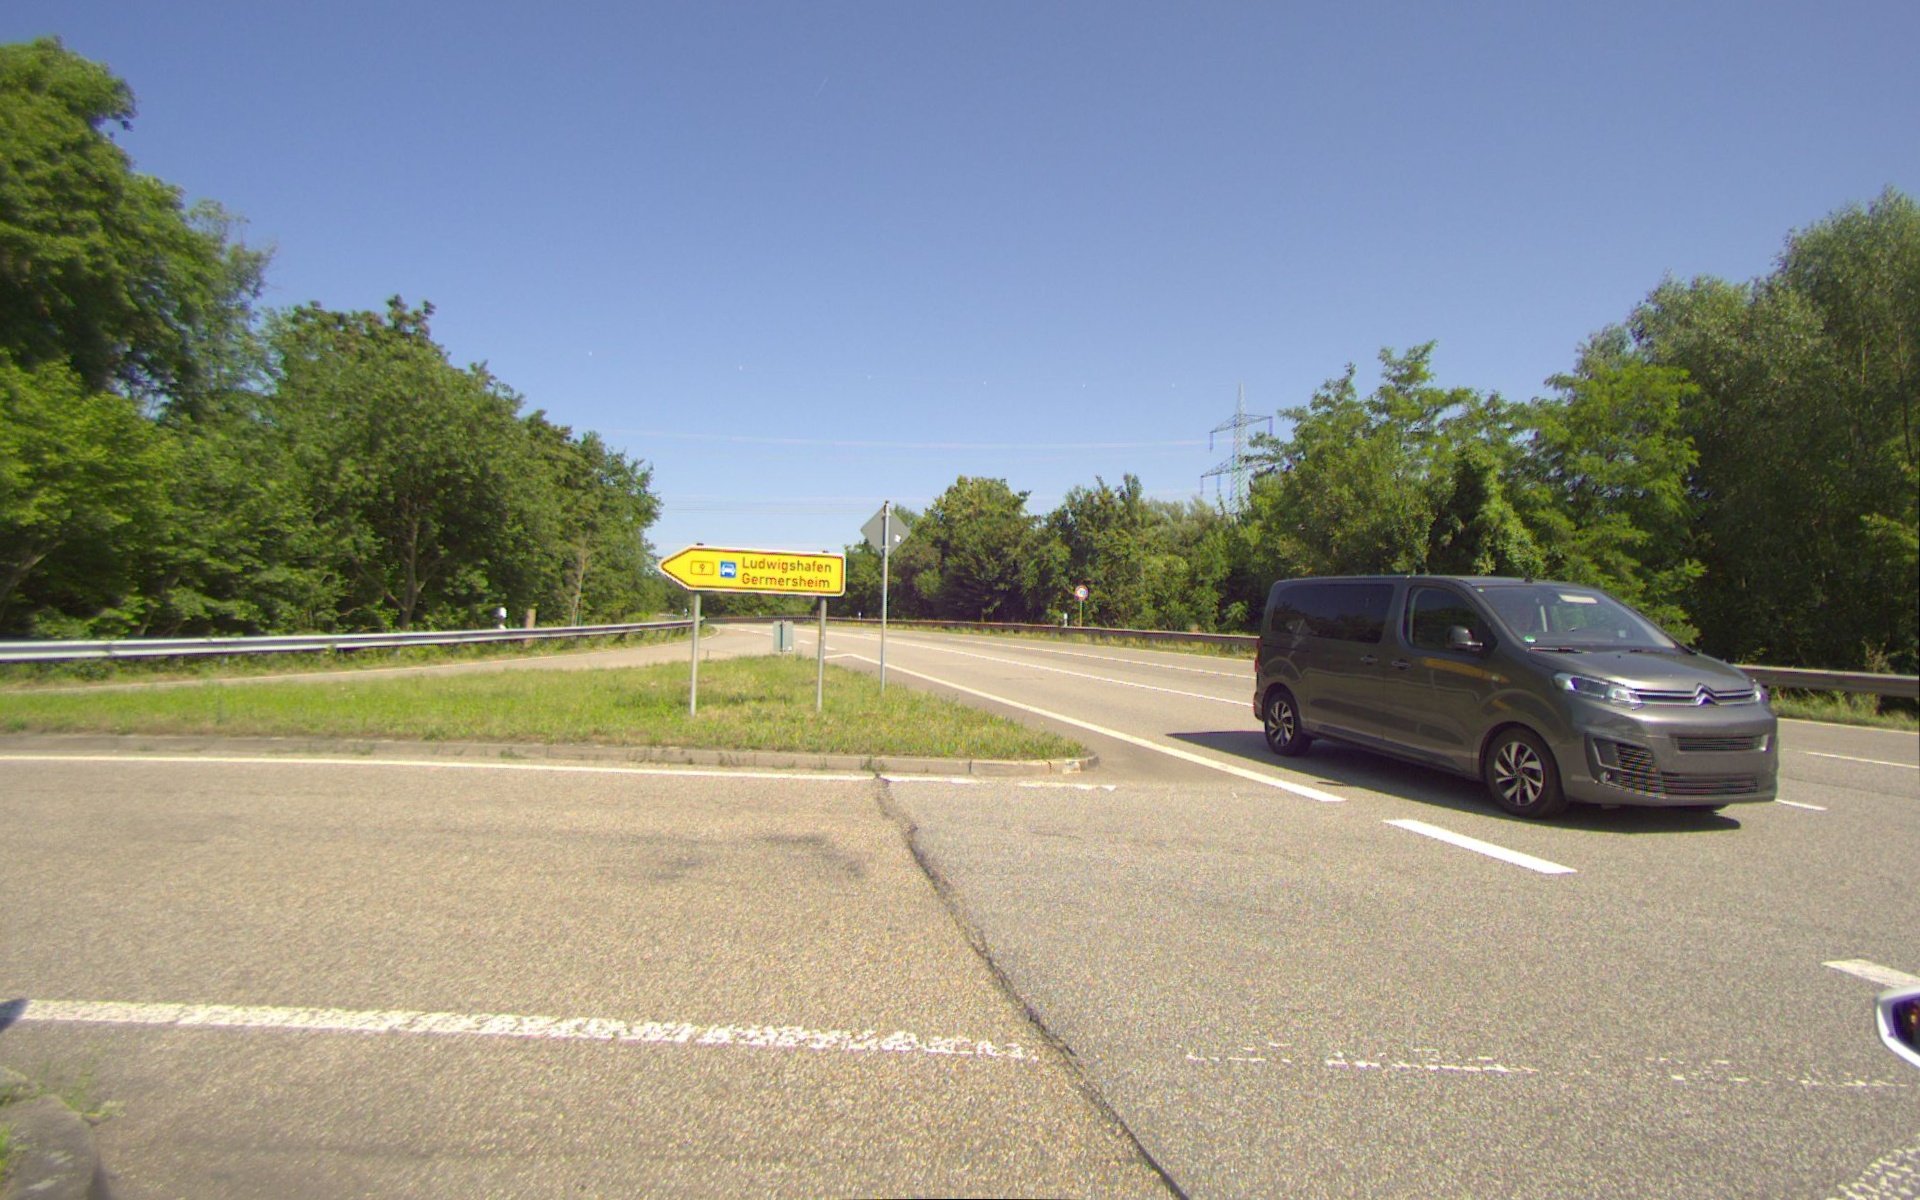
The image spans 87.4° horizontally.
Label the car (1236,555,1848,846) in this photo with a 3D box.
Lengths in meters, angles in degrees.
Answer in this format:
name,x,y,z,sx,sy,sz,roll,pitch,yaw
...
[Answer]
name,x,y,z,sx,sy,sz,roll,pitch,yaw
car,4.700,0.691,9.245,1.966,1.904,4.979,1,-1,-15
